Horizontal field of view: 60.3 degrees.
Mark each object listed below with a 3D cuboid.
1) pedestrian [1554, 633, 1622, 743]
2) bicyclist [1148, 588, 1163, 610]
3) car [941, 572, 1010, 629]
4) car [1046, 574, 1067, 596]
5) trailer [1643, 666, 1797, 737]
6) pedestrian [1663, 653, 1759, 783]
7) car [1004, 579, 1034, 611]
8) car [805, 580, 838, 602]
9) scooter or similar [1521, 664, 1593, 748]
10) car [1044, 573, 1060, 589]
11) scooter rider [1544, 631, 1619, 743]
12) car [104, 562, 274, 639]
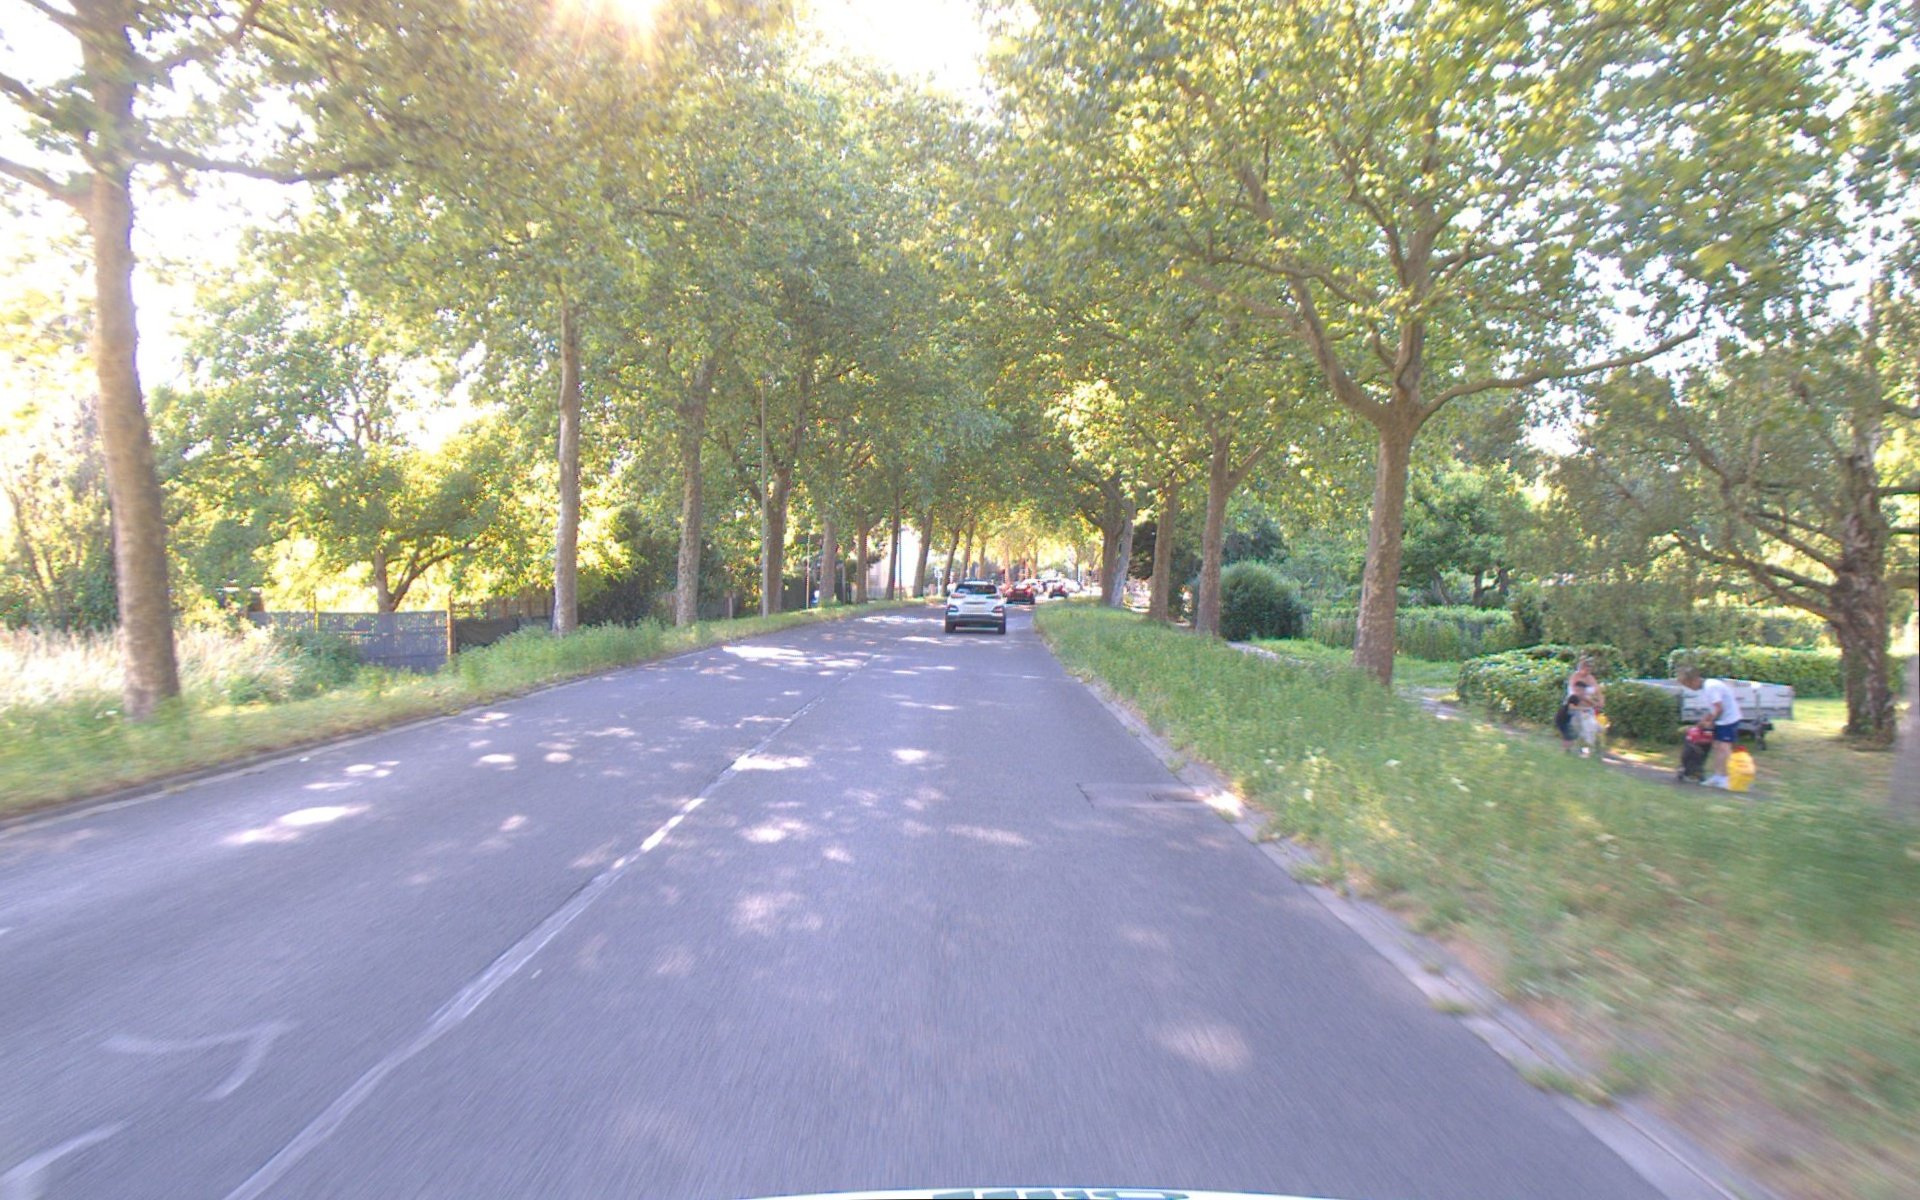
[{"bbox_3d":[9.605,1.323,25.280,0.769,1.604,0.842,1,0,35],"label":"pedestrian"},{"bbox_3d":[12.075,-0.060,102.126,0.720,1.390,0.769,1,0,-7],"label":"bicyclist"},{"bbox_3d":[0.507,-0.010,49.475,1.952,1.602,4.001,1,0,1],"label":"car"},{"bbox_3d":[9.203,-1.463,158.186,1.952,2.049,4.002,1,0,3],"label":"car"},{"bbox_3d":[12.862,1.708,28.060,2.073,1.071,1.201,1,0,4],"label":"trailer"},{"bbox_3d":[9.885,1.526,21.809,0.824,1.604,1.208,1,0,8],"label":"pedestrian"},{"bbox_3d":[3.994,-0.359,111.633,1.952,2.049,4.001,1,0,2],"label":"car"},{"bbox_3d":[-9.140,-0.607,109.248,1.716,1.327,4.001,-1,2,1],"label":"car"},{"bbox_3d":[8.778,1.542,24.288,1.587,1.155,0.335,1,0,-45],"label":"scooter or similar"},{"bbox_3d":[12.221,-2.548,219.275,1.951,2.049,4.003,1,0,6],"label":"car"},{"bbox_3d":[9.222,1.280,24.565,0.824,1.604,0.785,1,0,3],"label":"scooter rider"},{"bbox_3d":[-21.940,0.012,47.118,3.902,2.049,2.002,1,0,10],"label":"car"}]
